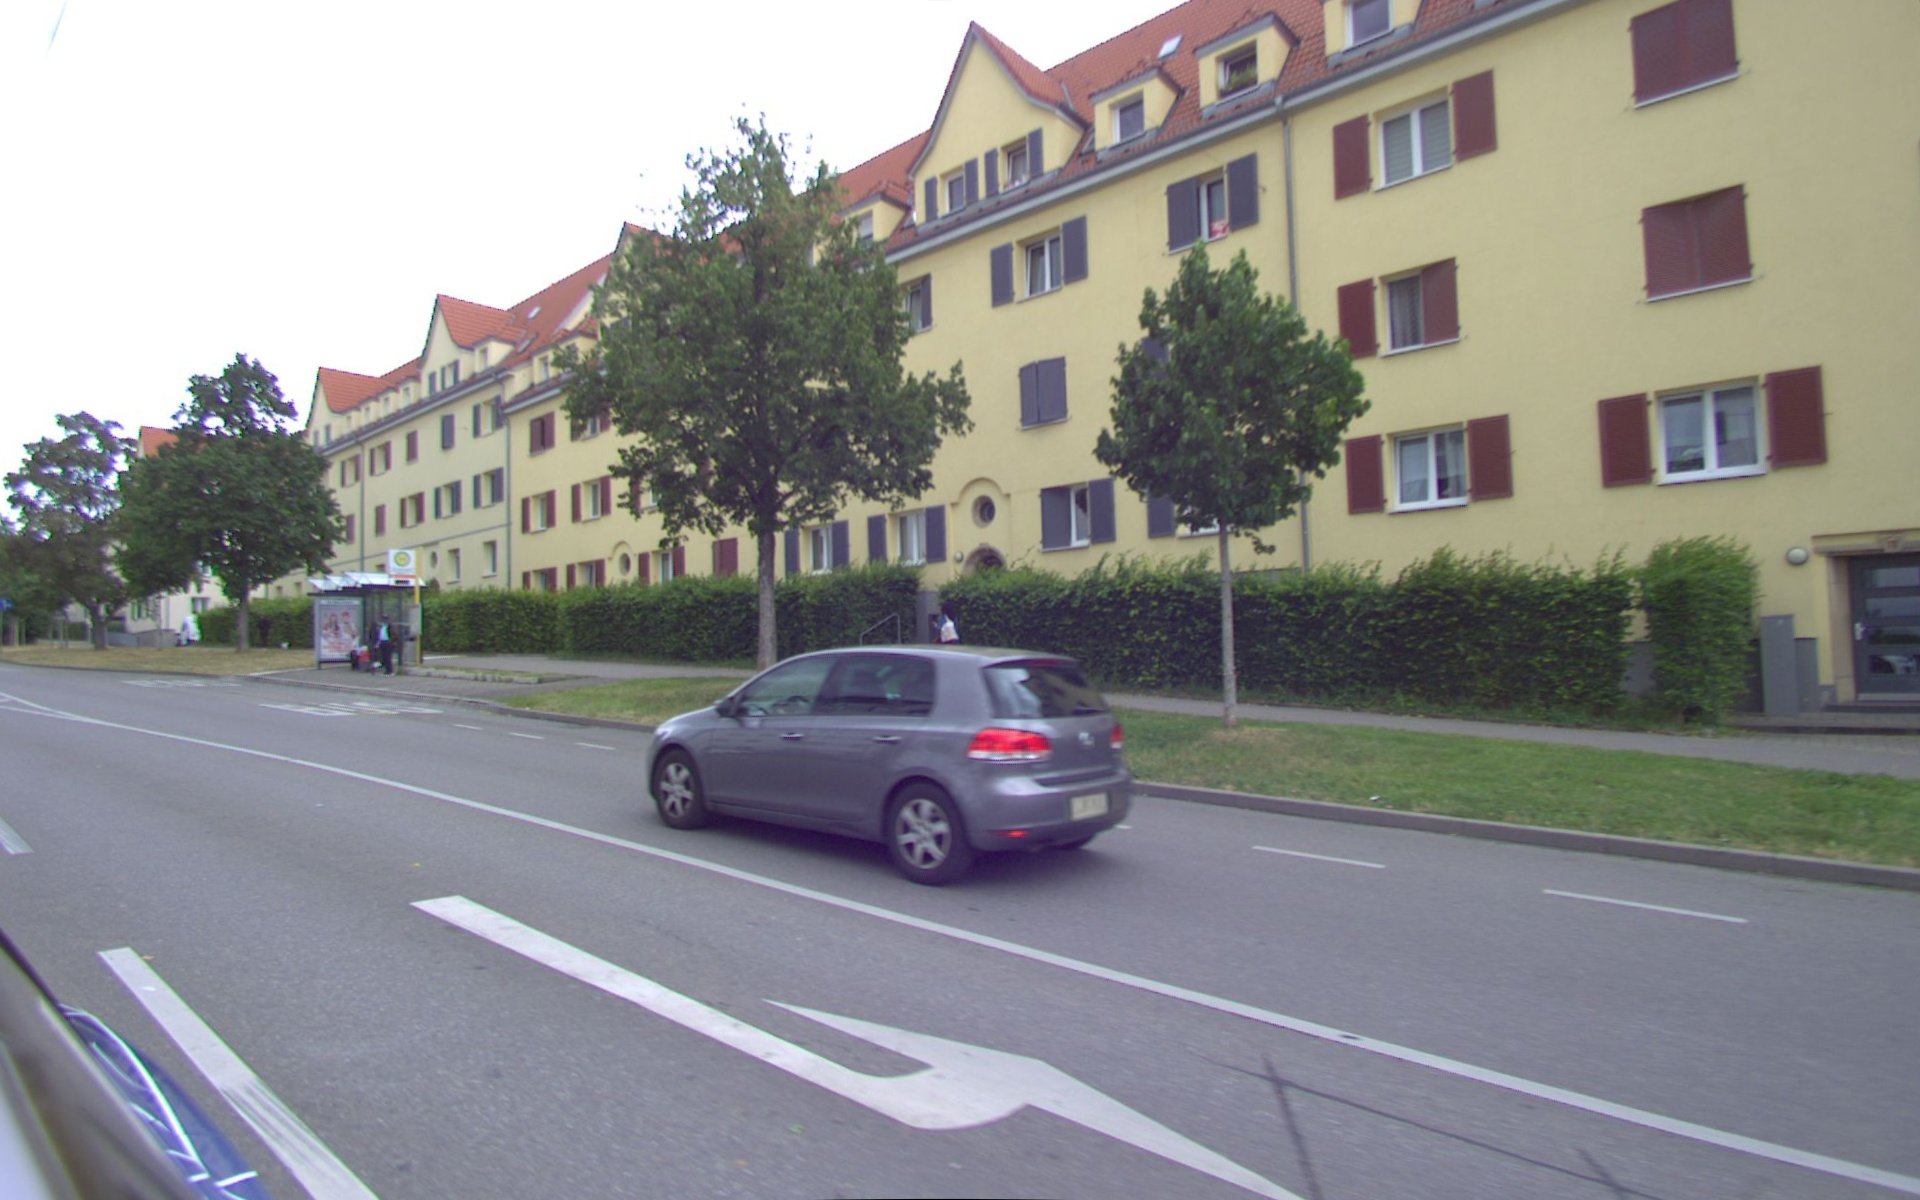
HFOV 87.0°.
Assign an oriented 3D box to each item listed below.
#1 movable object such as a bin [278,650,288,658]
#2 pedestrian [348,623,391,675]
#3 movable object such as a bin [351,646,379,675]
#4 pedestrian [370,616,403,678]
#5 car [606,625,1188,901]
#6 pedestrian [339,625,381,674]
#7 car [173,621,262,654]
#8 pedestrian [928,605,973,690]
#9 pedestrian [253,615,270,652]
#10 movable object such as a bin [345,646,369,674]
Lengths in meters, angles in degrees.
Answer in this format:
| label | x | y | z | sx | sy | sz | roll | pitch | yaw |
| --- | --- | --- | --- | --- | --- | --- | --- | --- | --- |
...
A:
| label | x | y | z | sx | sy | sz | roll | pitch | yaw |
| --- | --- | --- | --- | --- | --- | --- | --- | --- | --- |
| movable object such as a bin | -32.741 | 2.607 | 48.944 | 0.303 | 0.350 | 0.582 | 1 | -2 | -44 |
| pedestrian | -17.883 | 1.476 | 30.653 | 0.806 | 1.521 | 0.890 | -2 | -1 | 41 |
| movable object such as a bin | -17.963 | 1.822 | 30.554 | 0.665 | 0.852 | 0.531 | -2 | -1 | 42 |
| pedestrian | -16.272 | 1.327 | 28.725 | 0.861 | 1.740 | 0.591 | -2 | -2 | 43 |
| car | -0.658 | 1.006 | 7.555 | 4.302 | 1.484 | 1.738 | -2 | -5 | 40 |
| pedestrian | -18.708 | 1.535 | 31.549 | 0.806 | 1.485 | 0.890 | -2 | -1 | 41 |
| car | -52.009 | 2.633 | 70.974 | 1.994 | 2.270 | 4.668 | -2 | -3 | 41 |
| pedestrian | -0.193 | 0.931 | 20.026 | 0.617 | 1.631 | 0.634 | -2 | -2 | 40 |
| pedestrian | -33.578 | 1.602 | 48.649 | 0.752 | 1.793 | 0.508 | -2 | -2 | 40 |
| movable object such as a bin | -18.752 | 1.858 | 31.472 | 0.665 | 0.832 | 0.459 | -2 | -1 | 42 |
